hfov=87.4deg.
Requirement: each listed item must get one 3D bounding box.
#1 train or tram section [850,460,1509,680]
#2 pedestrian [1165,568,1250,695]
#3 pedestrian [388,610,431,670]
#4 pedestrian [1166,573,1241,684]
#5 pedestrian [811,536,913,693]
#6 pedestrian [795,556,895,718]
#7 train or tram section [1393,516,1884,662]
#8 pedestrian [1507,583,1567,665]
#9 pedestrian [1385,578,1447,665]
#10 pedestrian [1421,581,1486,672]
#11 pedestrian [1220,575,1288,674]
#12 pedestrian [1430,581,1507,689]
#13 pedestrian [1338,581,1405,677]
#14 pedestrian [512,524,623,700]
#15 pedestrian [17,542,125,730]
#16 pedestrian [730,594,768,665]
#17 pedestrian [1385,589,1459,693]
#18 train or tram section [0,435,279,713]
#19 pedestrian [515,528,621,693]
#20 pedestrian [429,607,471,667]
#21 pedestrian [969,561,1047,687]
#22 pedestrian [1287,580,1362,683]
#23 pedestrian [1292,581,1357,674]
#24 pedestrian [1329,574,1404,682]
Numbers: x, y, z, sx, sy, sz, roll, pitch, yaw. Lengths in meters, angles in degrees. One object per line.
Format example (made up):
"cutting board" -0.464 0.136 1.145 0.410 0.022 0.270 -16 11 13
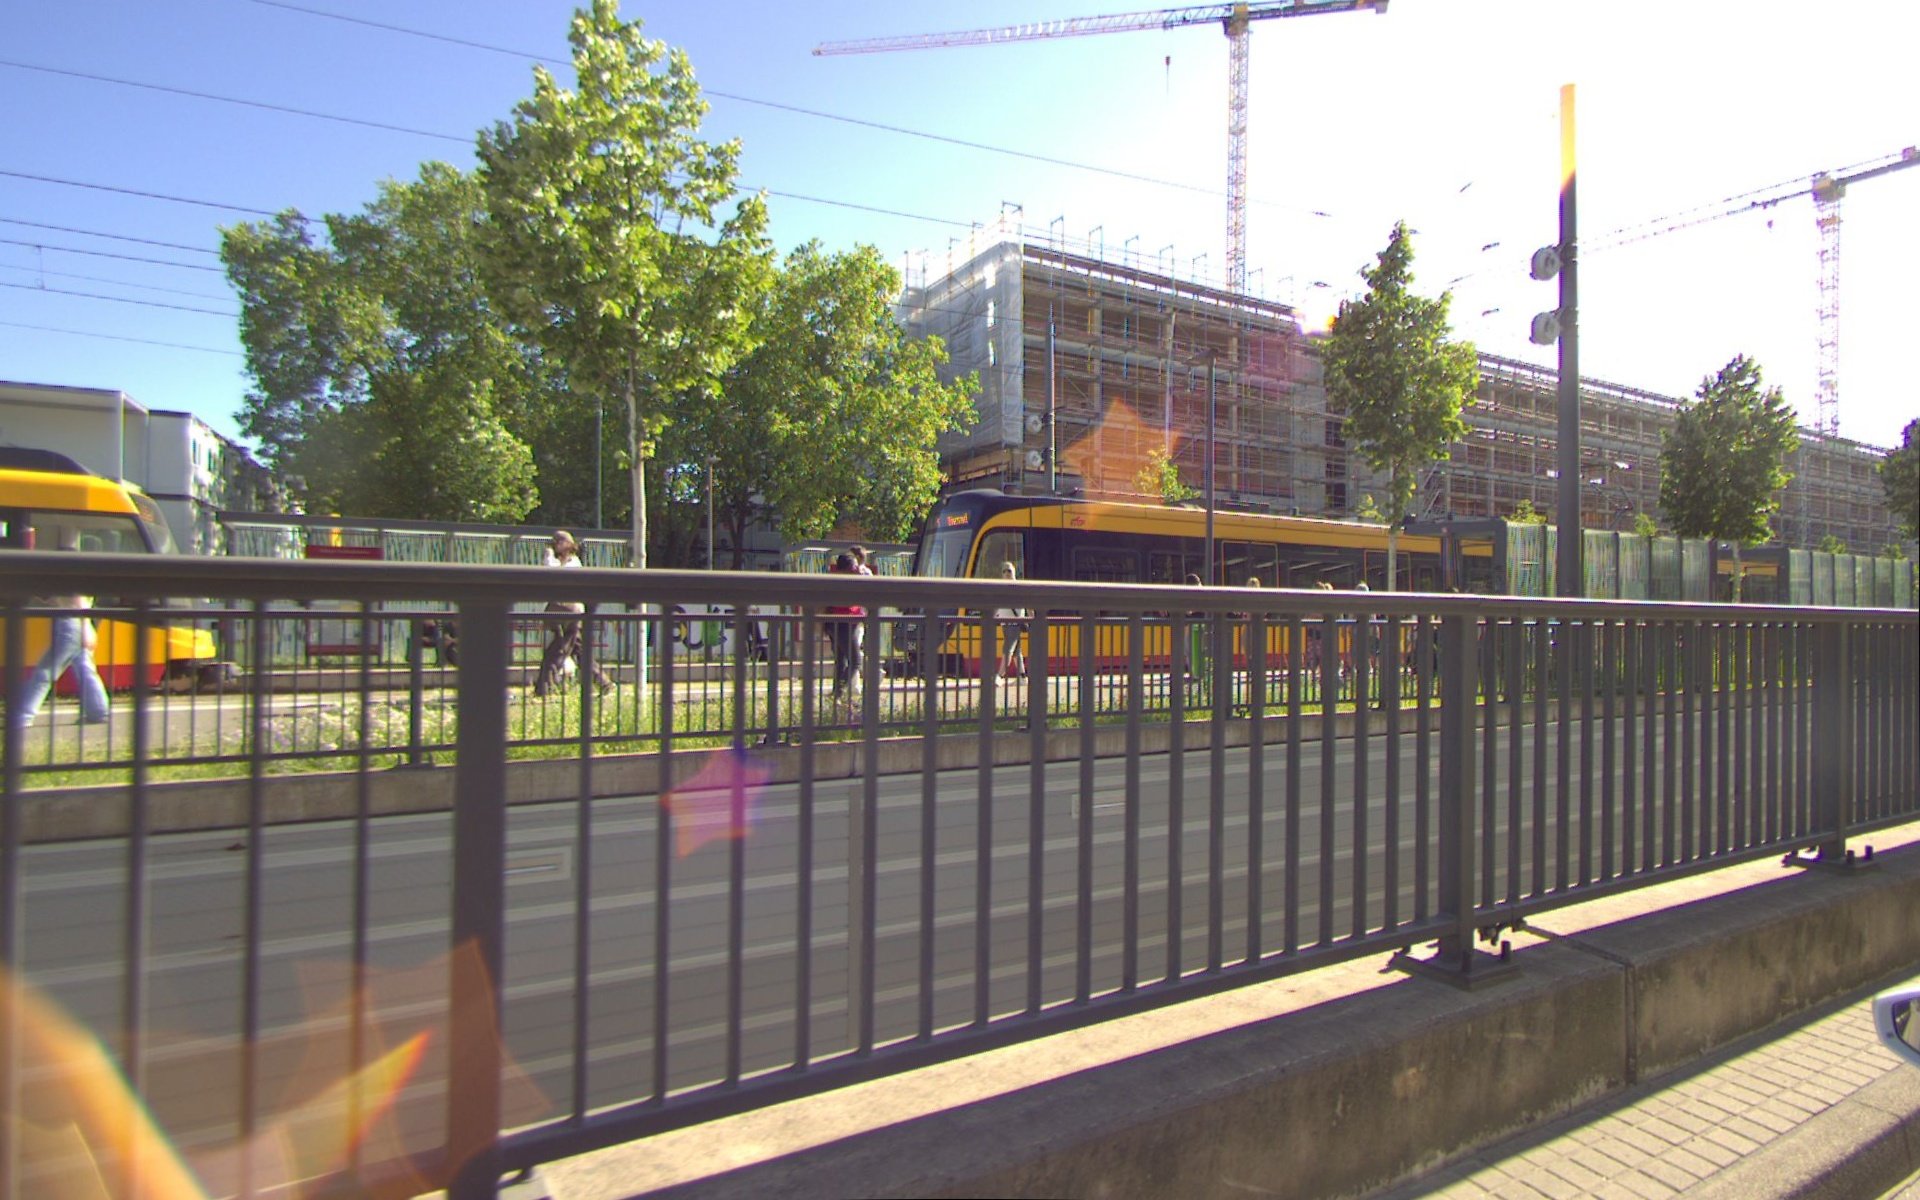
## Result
"train or tram section" 5.257 -0.388 20.247 15.006 3.323 2.856 1 1 -30
"pedestrian" 3.353 0.421 13.647 0.851 1.650 0.738 1 -1 -29
"pedestrian" -10.642 0.767 19.413 0.675 1.144 0.652 1 -1 -32
"pedestrian" 3.761 0.434 15.505 0.851 1.650 0.738 1 -1 -29
"pedestrian" -1.233 0.185 12.596 0.995 1.875 0.883 1 -1 -30
"pedestrian" -1.241 0.388 10.779 0.851 1.650 0.738 1 -1 -29
"train or tram section" 21.106 -0.131 29.706 21.882 3.323 2.856 1 1 -31
"pedestrian" 11.849 0.485 20.643 0.851 1.650 0.738 1 -1 -29
"pedestrian" 8.858 0.416 19.504 0.851 1.650 0.738 1 -1 -29
"pedestrian" 9.242 0.488 18.826 0.851 1.650 0.738 1 -1 -29
"pedestrian" 5.053 0.425 17.298 0.851 1.650 0.738 1 -1 -29
"pedestrian" 7.996 0.541 15.798 0.851 1.650 0.738 1 -1 -29
"pedestrian" 7.252 0.504 17.711 0.851 1.650 0.738 1 -1 -29
"pedestrian" -4.308 0.138 11.021 1.019 1.835 0.766 1 -1 -31
"pedestrian" -7.602 0.292 8.617 0.582 1.533 0.643 0 1 -33
"pedestrian" -4.911 0.689 23.411 0.675 1.614 0.652 1 -1 -32
"pedestrian" 7.571 0.654 16.469 0.851 1.650 0.738 1 -1 -29
"train or tram section" -16.949 -0.446 10.728 15.778 3.366 2.834 1 1 -30
"pedestrian" -4.594 0.130 11.773 1.062 1.835 0.668 1 -1 -31
"pedestrian" -10.051 0.725 19.783 0.675 1.144 0.652 1 -1 -32
"pedestrian" 0.677 0.338 14.253 0.851 1.717 0.738 1 -1 -29
"pedestrian" 6.041 0.510 16.668 0.935 1.650 0.738 1 -1 -29
"pedestrian" 6.634 0.500 18.297 0.851 1.650 0.738 1 -1 -29
"pedestrian" 6.465 0.441 16.000 0.851 1.650 0.738 1 -1 -29
